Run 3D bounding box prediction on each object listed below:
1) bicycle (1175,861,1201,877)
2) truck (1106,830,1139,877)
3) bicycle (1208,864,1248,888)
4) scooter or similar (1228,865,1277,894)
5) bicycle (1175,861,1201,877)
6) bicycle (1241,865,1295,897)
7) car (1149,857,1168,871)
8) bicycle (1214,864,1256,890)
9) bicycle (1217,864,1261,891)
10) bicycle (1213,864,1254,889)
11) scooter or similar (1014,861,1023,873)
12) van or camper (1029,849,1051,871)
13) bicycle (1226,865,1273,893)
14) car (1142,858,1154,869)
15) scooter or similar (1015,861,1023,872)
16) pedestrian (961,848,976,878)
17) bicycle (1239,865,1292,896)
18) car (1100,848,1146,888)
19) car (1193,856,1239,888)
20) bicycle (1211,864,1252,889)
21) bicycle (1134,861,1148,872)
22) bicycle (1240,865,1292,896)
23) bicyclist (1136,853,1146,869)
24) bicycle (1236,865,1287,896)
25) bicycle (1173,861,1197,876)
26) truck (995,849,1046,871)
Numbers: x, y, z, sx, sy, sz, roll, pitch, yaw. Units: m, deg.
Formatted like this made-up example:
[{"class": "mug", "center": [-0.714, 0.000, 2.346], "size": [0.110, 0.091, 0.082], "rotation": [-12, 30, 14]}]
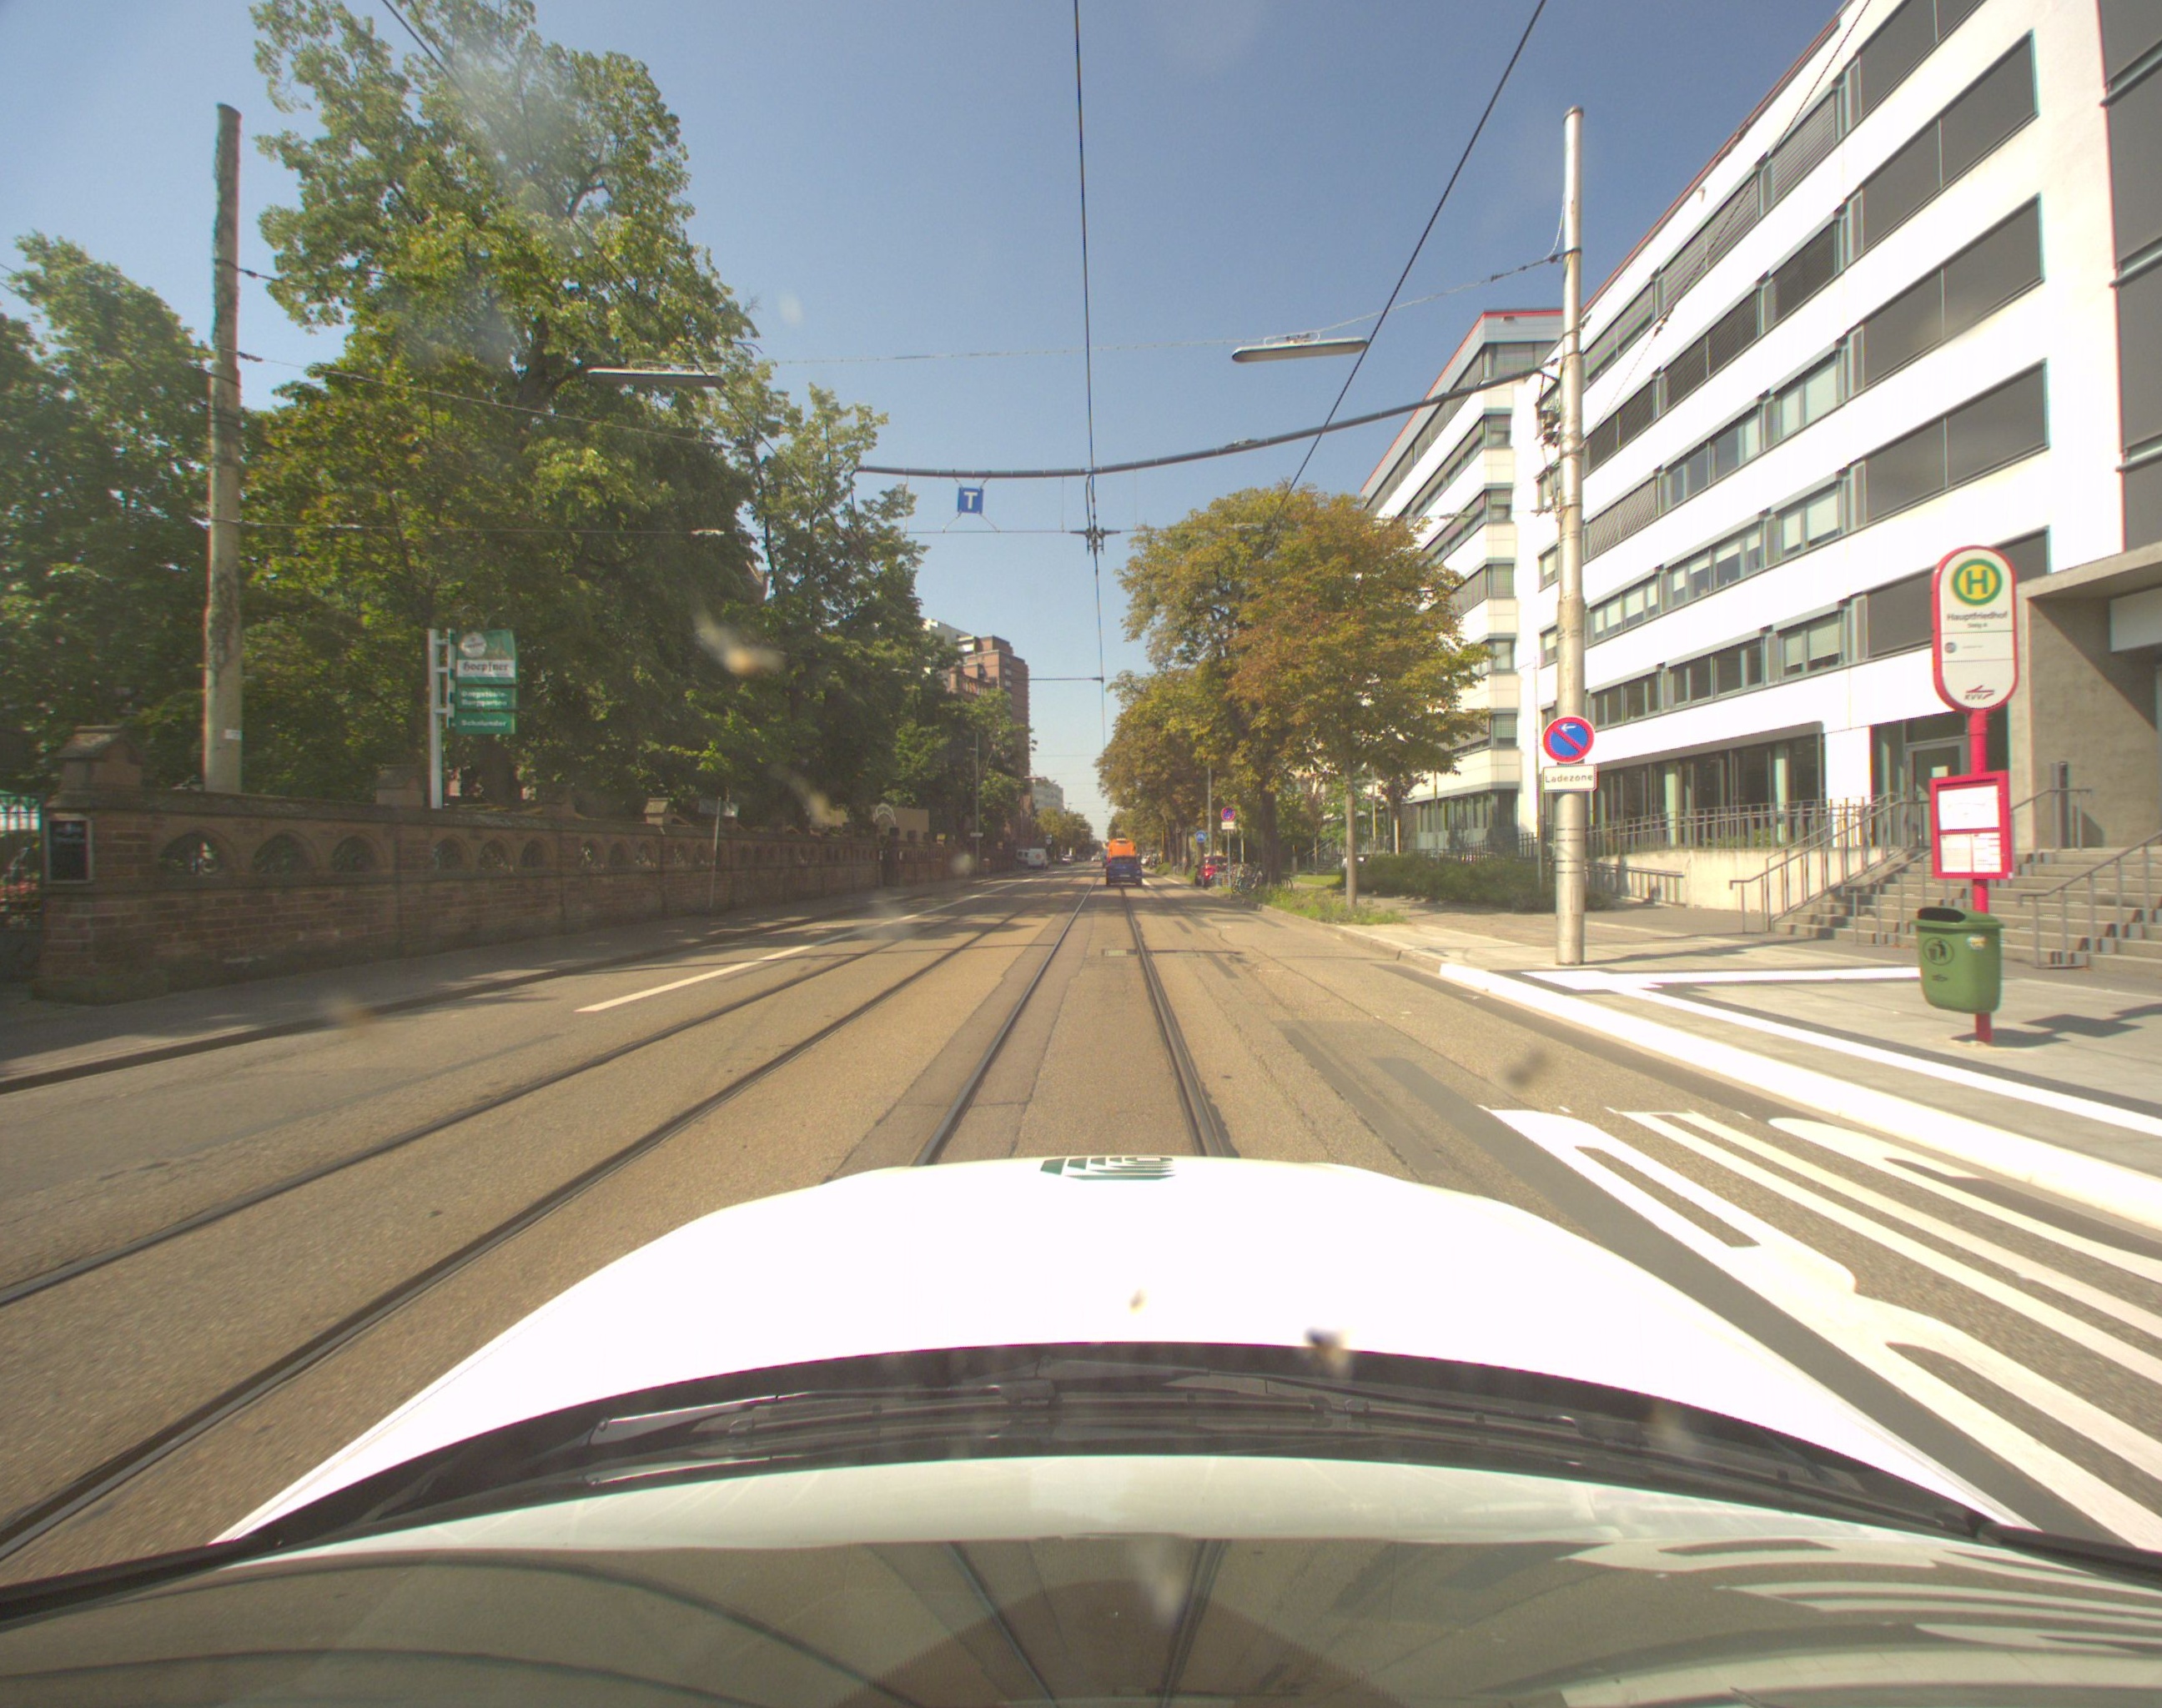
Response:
[{"class": "bicycle", "center": [7.728, 1.083, 58.675], "size": [1.765, 1.050, 0.541], "rotation": [-2, -1, 1]}, {"class": "truck", "center": [2.971, -0.001, 58.696], "size": [2.127, 3.124, 6.088], "rotation": [-1, -1, 2]}, {"class": "bicycle", "center": [6.932, 1.034, 38.414], "size": [1.765, 1.071, 0.541], "rotation": [-2, -1, 1]}, {"class": "scooter or similar", "center": [6.707, 0.983, 31.883], "size": [1.765, 1.071, 0.541], "rotation": [-2, -1, 1]}, {"class": "bicycle", "center": [7.798, 1.088, 59.352], "size": [1.765, 1.050, 0.541], "rotation": [-2, -1, 1]}, {"class": "bicycle", "center": [6.636, 0.960, 28.954], "size": [1.765, 1.071, 0.541], "rotation": [-2, -1, 1]}, {"class": "car", "center": [8.853, 1.179, 92.969], "size": [1.750, 1.515, 4.610], "rotation": [-2, -1, 1]}, {"class": "bicycle", "center": [6.828, 1.017, 36.155], "size": [1.765, 1.071, 0.541], "rotation": [-2, -1, 1]}, {"class": "bicycle", "center": [6.785, 1.008, 35.054], "size": [1.765, 1.071, 0.541], "rotation": [-2, -1, 1]}, {"class": "bicycle", "center": [6.910, 1.023, 36.965], "size": [1.765, 1.071, 0.541], "rotation": [-2, -1, 1]}, {"class": "scooter or similar", "center": [-6.666, 1.381, 86.812], "size": [0.336, 1.178, 1.185], "rotation": [-1, -1, 27]}, {"class": "van or camper", "center": [-5.167, 0.804, 102.658], "size": [2.104, 2.675, 5.960], "rotation": [0, -1, 4]}, {"class": "bicycle", "center": [6.709, 0.988, 32.471], "size": [1.765, 1.071, 0.541], "rotation": [-2, -1, 1]}, {"class": "car", "center": [10.231, 1.436, 123.837], "size": [1.652, 1.481, 4.219], "rotation": [-1, -1, 3]}, {"class": "scooter or similar", "center": [-6.709, 1.391, 87.986], "size": [0.336, 1.178, 1.185], "rotation": [-1, -1, 27]}, {"class": "pedestrian", "center": [-7.622, 0.636, 55.262], "size": [0.861, 2.014, 0.983], "rotation": [0, -1, 0]}, {"class": "bicycle", "center": [6.710, 0.965, 29.648], "size": [1.765, 1.071, 0.541], "rotation": [-2, -1, 1]}, {"class": "car", "center": [2.104, 0.686, 41.587], "size": [2.127, 1.858, 5.571], "rotation": [-1, -1, 2]}, {"class": "car", "center": [6.752, 0.871, 41.118], "size": [1.749, 1.462, 4.277], "rotation": [-1, 0, 2]}, {"class": "bicycle", "center": [6.963, 1.028, 37.639], "size": [1.765, 1.071, 0.541], "rotation": [-2, -1, 1]}, {"class": "bicycle", "center": [6.780, 1.404, 92.192], "size": [1.396, 1.134, 4.002], "rotation": [-1, -1, 2]}, {"class": "bicycle", "center": [6.722, 0.965, 29.670], "size": [1.765, 1.071, 0.541], "rotation": [-2, -1, 1]}, {"class": "bicyclist", "center": [6.810, 0.829, 92.186], "size": [1.028, 1.812, 1.016], "rotation": [0, -1, 2]}, {"class": "bicycle", "center": [6.701, 0.970, 30.250], "size": [1.765, 1.071, 0.541], "rotation": [-2, -1, 1]}, {"class": "bicycle", "center": [7.876, 1.108, 61.831], "size": [1.765, 1.050, 0.541], "rotation": [-2, -1, 1]}, {"class": "truck", "center": [-7.947, 0.772, 107.587], "size": [6.287, 2.538, 2.135], "rotation": [2, 1, 6]}]
